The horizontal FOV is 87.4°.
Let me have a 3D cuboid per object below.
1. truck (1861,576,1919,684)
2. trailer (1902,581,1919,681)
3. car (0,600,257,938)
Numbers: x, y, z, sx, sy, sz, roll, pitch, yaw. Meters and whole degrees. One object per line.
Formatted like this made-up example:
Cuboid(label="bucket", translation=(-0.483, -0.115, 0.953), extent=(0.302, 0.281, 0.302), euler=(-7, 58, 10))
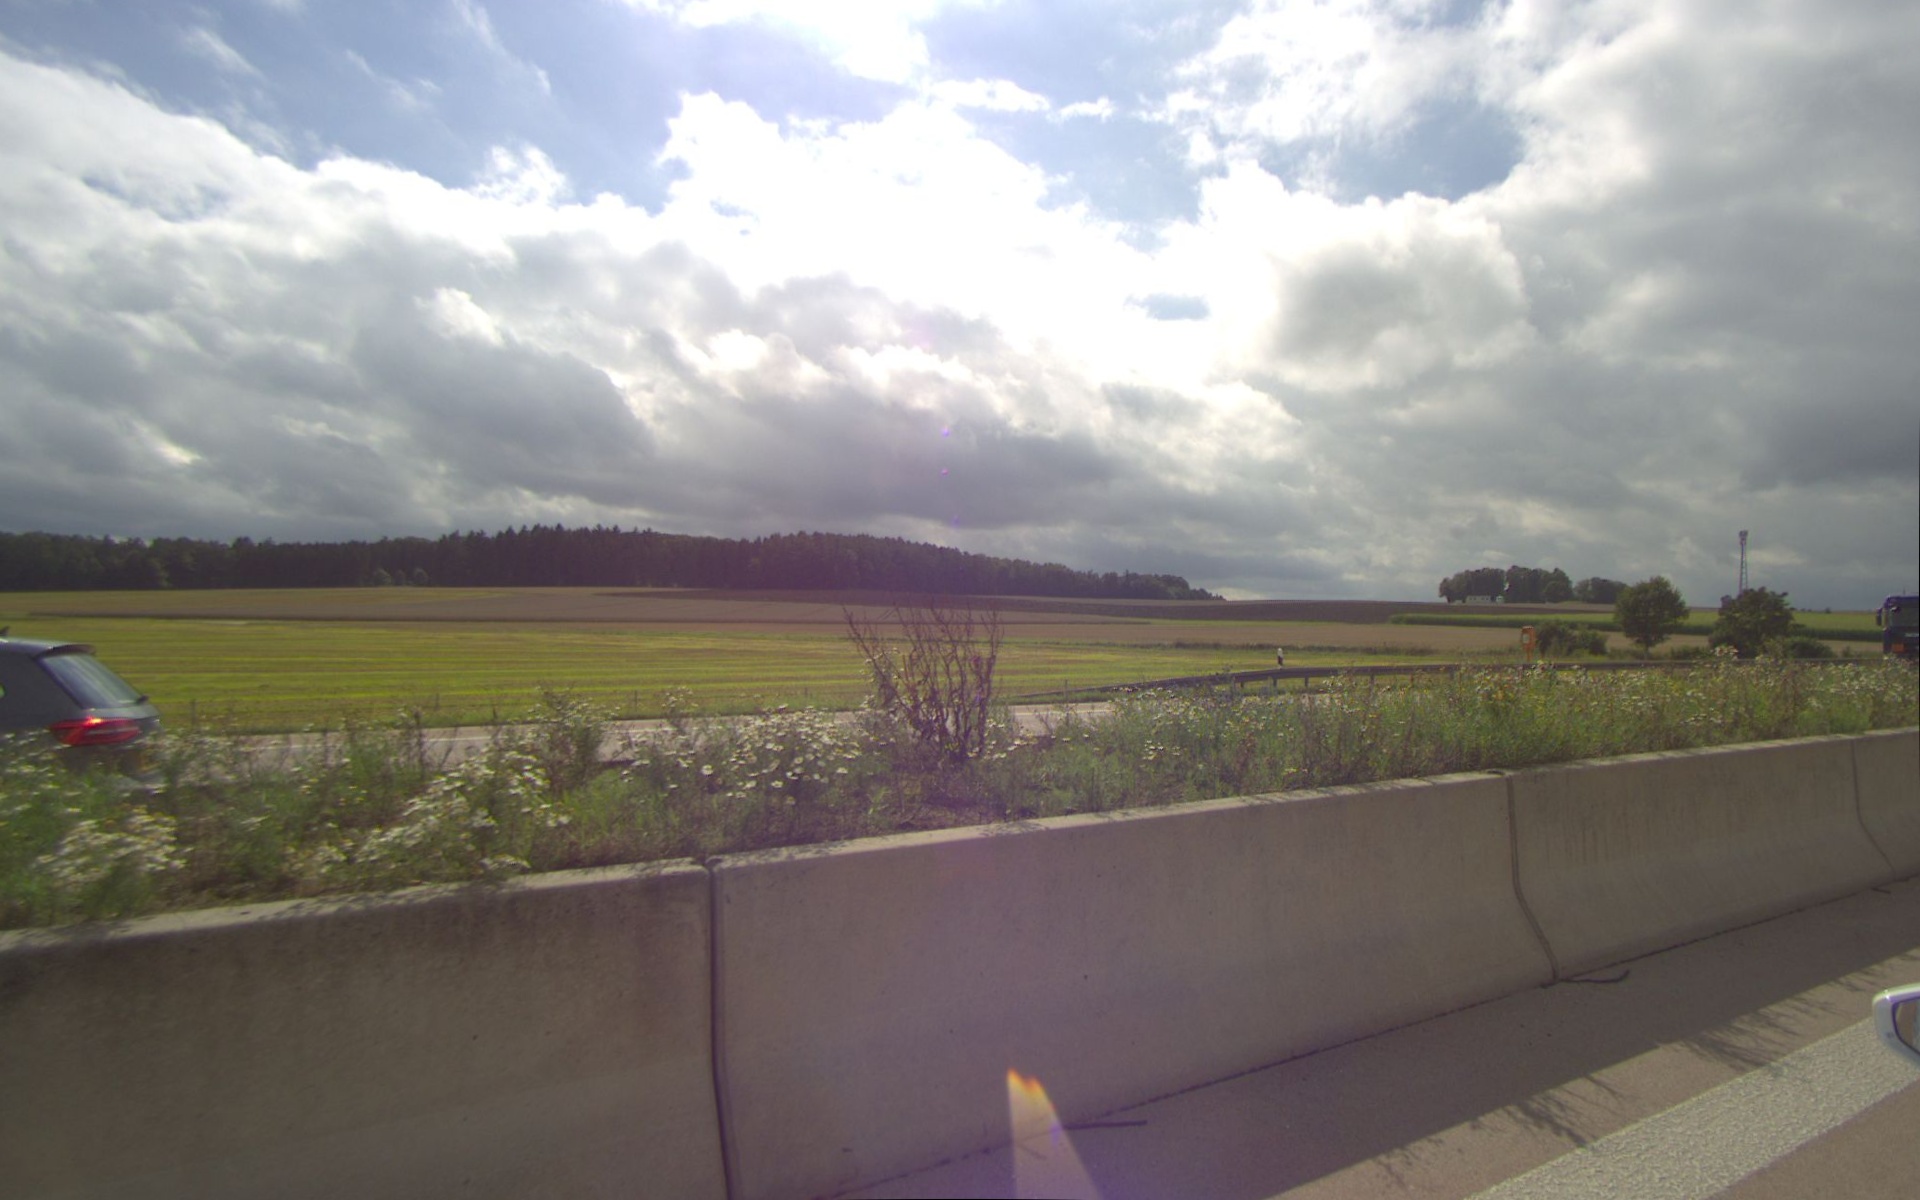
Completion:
Cuboid(label="truck", translation=(39.358, 1.217, 40.233), extent=(6.257, 4.152, 2.880), euler=(1, -3, -29))
Cuboid(label="trailer", translation=(44.828, 1.328, 43.296), extent=(10.902, 4.152, 2.880), euler=(1, -3, -29))
Cuboid(label="car", translation=(-6.603, 0.872, 5.290), extent=(4.544, 1.721, 1.984), euler=(1, -2, -30))
